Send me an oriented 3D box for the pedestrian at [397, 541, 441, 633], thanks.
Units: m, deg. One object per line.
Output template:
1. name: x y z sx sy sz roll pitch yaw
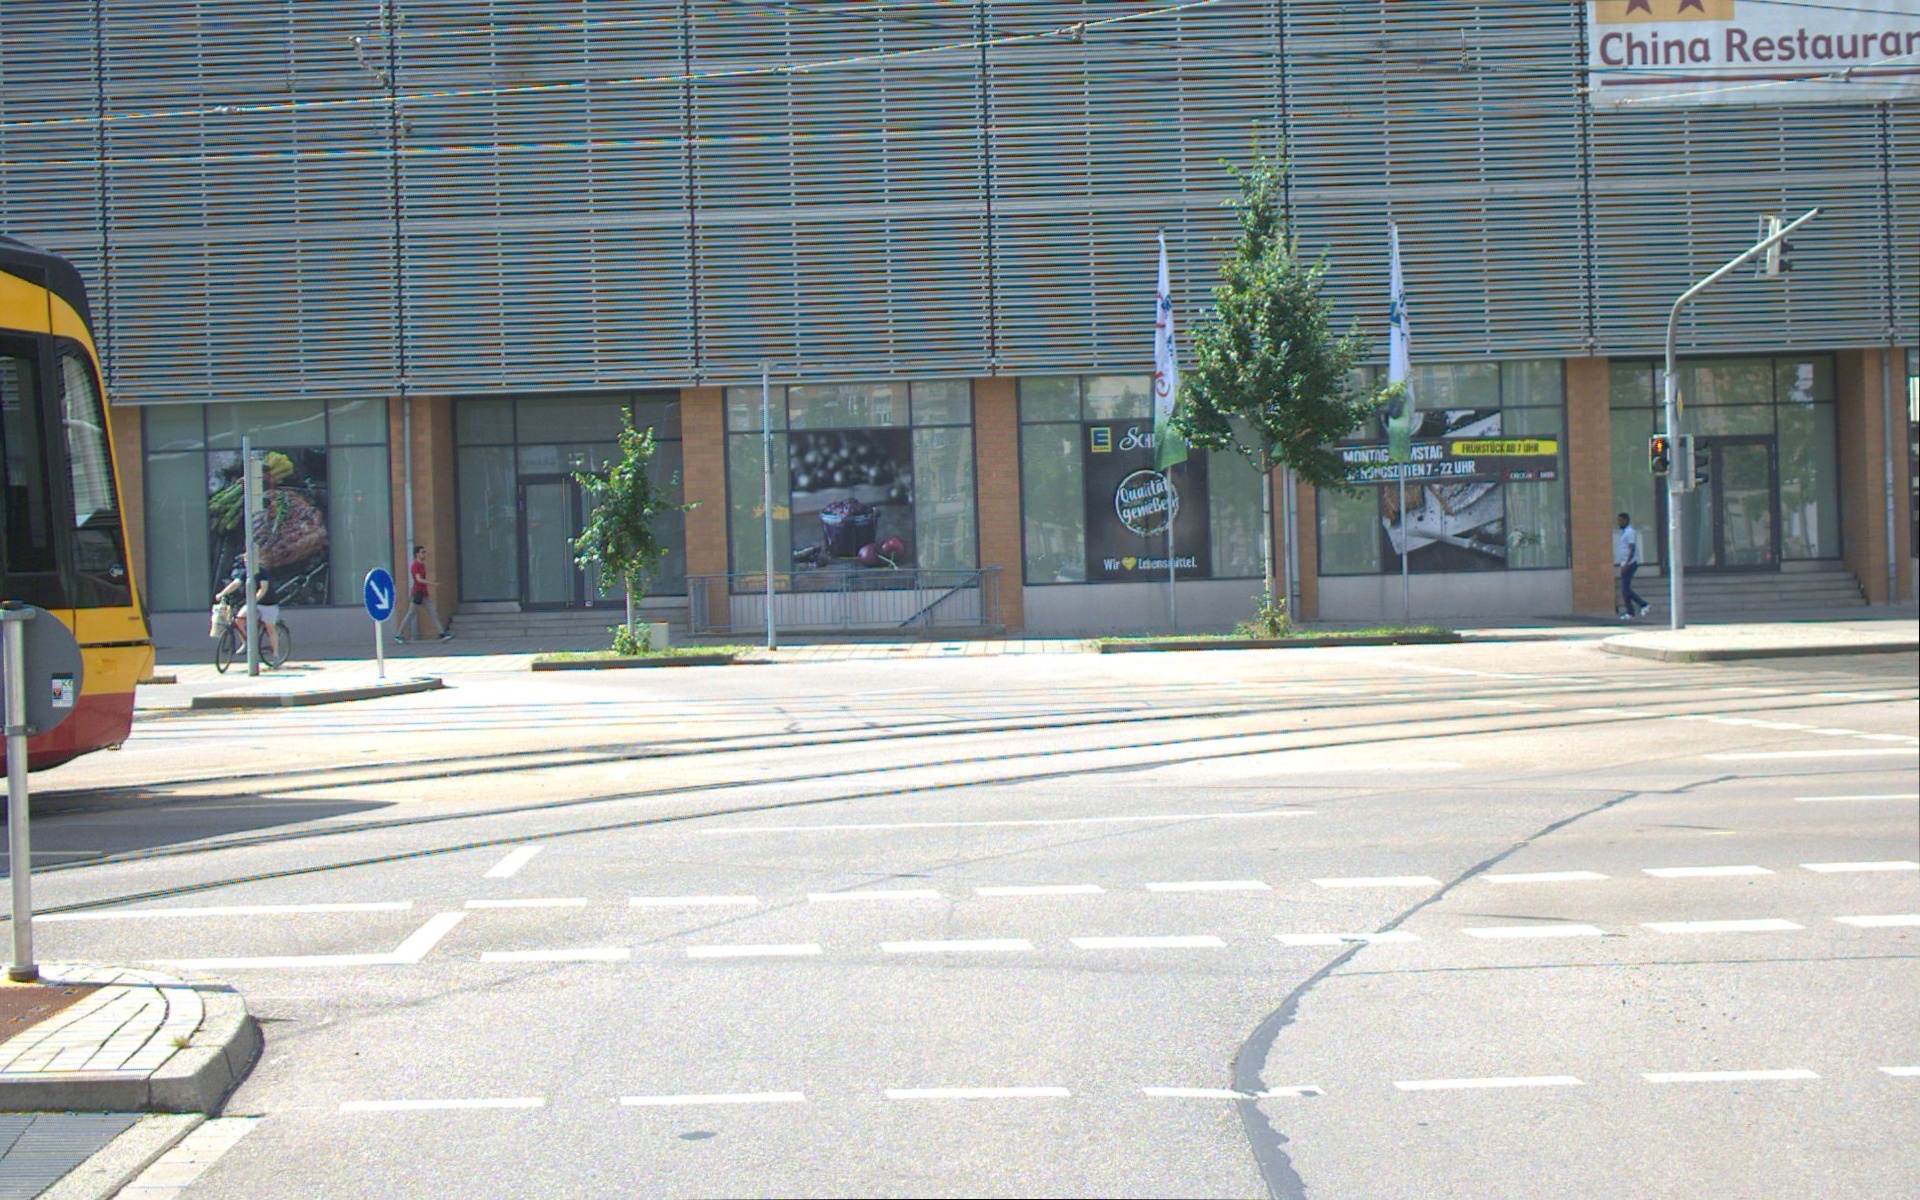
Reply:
1. pedestrian: -9.561 -0.234 60.794 0.662 1.618 0.517 0 1 2

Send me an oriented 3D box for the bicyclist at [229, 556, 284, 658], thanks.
1. bicyclist: -11.251 0.107 54.971 0.662 1.618 0.550 -1 1 -43

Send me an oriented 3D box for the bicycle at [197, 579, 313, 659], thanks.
1. bicycle: -11.258 0.294 54.967 1.761 1.219 0.584 -1 1 -43

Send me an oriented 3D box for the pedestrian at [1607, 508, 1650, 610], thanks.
1. pedestrian: 11.445 -0.700 58.895 0.618 1.740 0.629 0 1 1

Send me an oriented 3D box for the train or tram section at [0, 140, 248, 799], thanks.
1. train or tram section: -8.108 -0.557 15.627 3.058 3.608 12.623 -2 1 21
